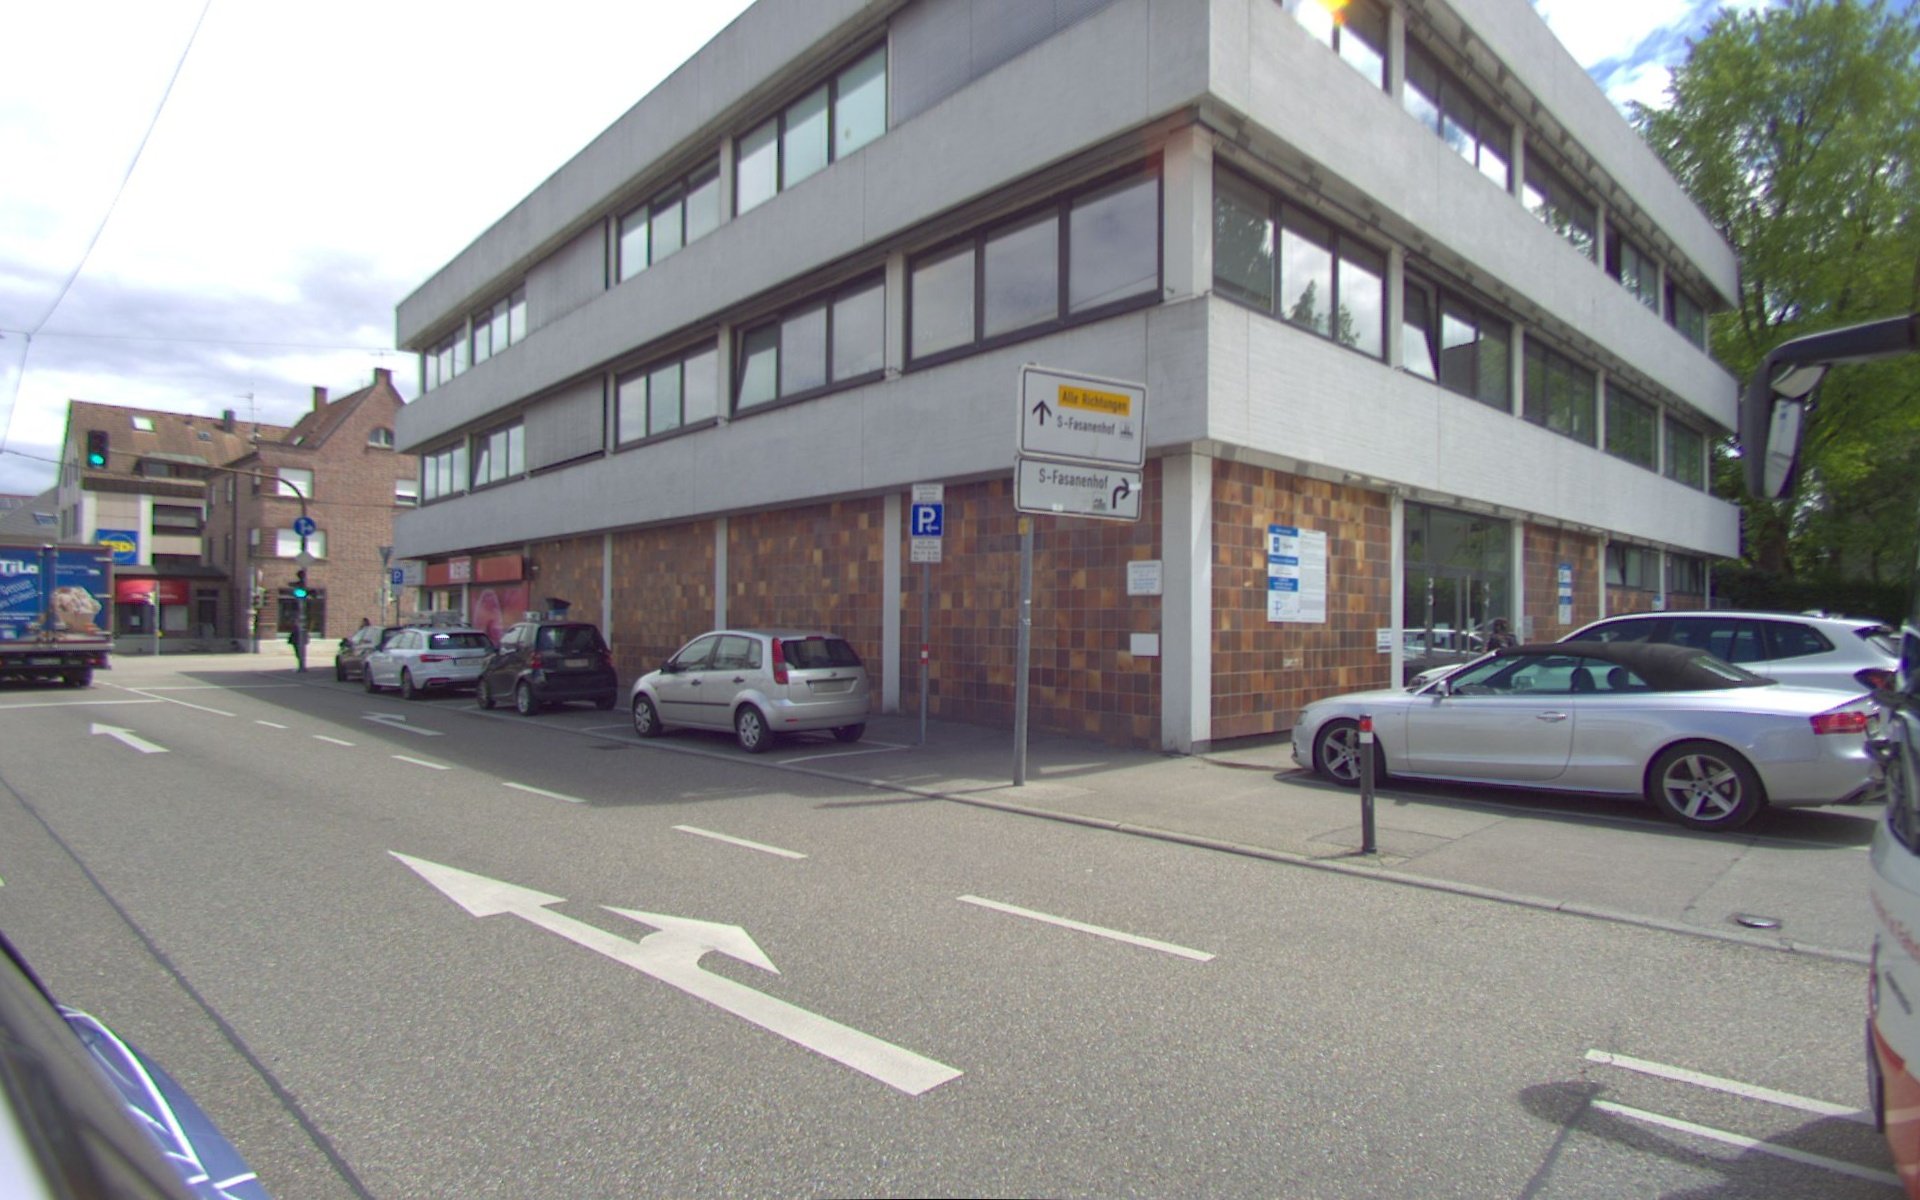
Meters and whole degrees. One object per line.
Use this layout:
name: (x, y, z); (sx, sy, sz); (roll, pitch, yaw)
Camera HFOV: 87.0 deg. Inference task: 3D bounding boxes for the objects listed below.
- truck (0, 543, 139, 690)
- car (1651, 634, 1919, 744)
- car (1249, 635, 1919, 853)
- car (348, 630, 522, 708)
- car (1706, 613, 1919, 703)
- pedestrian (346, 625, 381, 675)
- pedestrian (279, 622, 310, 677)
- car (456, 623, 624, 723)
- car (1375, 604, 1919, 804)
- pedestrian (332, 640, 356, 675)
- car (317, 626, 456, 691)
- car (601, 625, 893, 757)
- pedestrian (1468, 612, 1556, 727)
truck: (-22.706, 0.445, 24.767); (8.087, 3.116, 2.823); (-1, -2, 42)
car: (13.820, 1.334, 15.969); (1.899, 1.590, 4.499); (2, -3, -44)
car: (5.212, 1.001, 8.855); (1.928, 1.368, 4.859); (2, -2, -43)
car: (-11.447, 1.404, 21.885); (2.020, 1.455, 4.956); (0, -1, -44)
car: (20.679, 1.304, 23.506); (1.944, 1.956, 5.095); (2, -2, -42)
pedestrian: (-19.129, 1.592, 32.449); (0.809, 1.566, 0.847); (0, -1, -42)
pedestrian: (-20.445, 1.515, 31.093); (0.709, 1.657, 0.682); (0, -1, -43)
car: (-7.416, 1.205, 17.755); (1.716, 1.568, 3.058); (0, -1, -44)
car: (7.173, 0.979, 10.569); (1.927, 1.632, 4.936); (5, -5, -41)
pedestrian: (-19.626, 1.819, 32.248); (0.552, 1.065, 0.663); (0, -1, -42)
car: (-14.893, 1.452, 26.182); (4.286, 1.486, 2.021); (-2, -1, 44)
car: (-2.914, 1.074, 13.285); (4.148, 1.433, 1.703); (-2, -1, 44)
pedestrian: (8.396, 1.043, 15.407); (0.708, 1.684, 0.996); (4, -4, -42)
